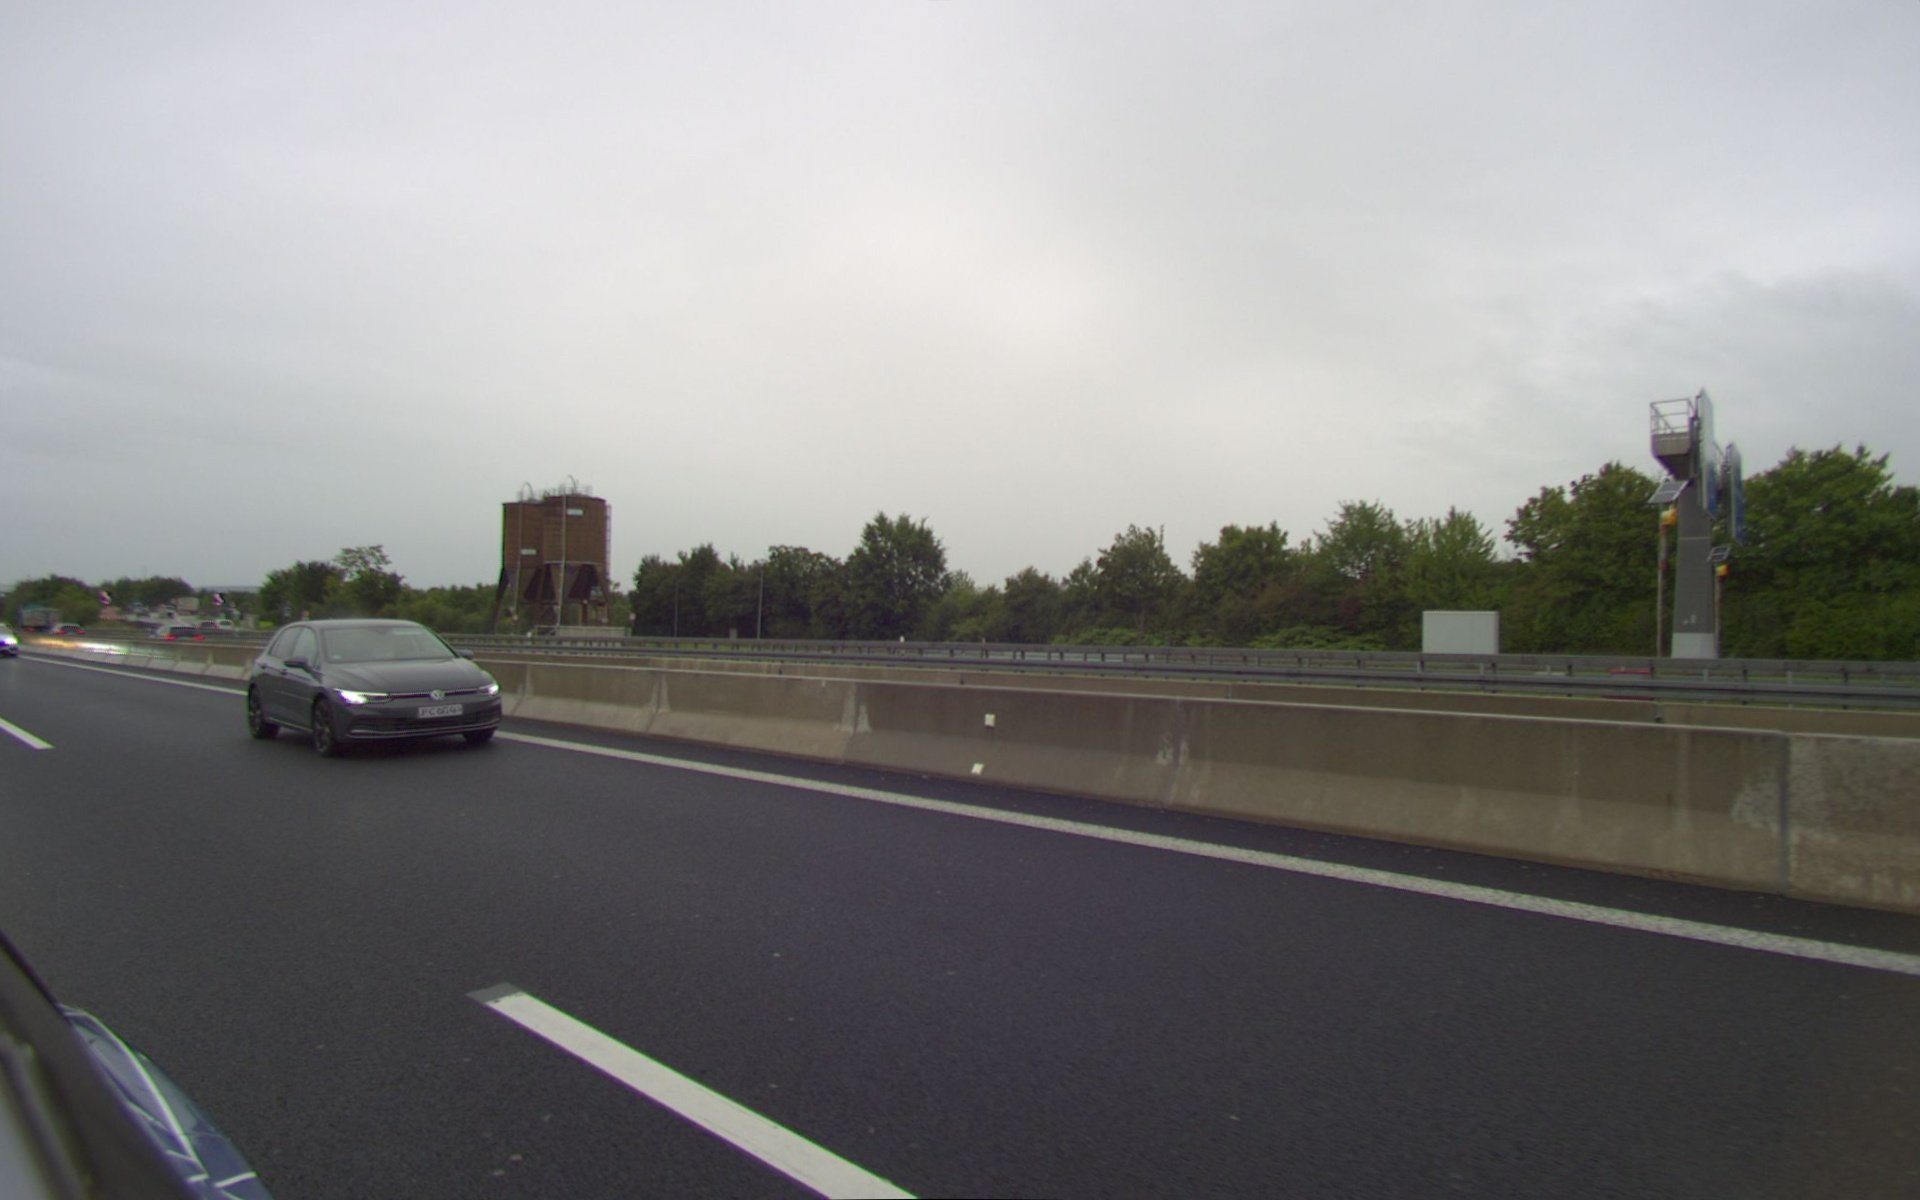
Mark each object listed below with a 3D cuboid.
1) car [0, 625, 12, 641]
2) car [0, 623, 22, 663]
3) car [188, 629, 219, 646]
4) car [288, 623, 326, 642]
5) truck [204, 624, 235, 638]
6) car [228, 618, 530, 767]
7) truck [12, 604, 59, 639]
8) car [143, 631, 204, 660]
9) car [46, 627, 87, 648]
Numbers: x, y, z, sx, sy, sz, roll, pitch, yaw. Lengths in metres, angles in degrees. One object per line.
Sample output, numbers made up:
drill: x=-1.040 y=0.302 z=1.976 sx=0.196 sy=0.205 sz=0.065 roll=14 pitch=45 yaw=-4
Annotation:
car: x=-97.778 y=3.395 z=102.806 sx=3.998 sy=1.608 sz=1.695 roll=-1 pitch=-1 yaw=41
car: x=-40.906 y=1.781 z=42.470 sx=4.817 sy=1.603 sz=1.972 roll=-2 pitch=-1 yaw=43
car: x=-86.081 y=4.273 z=115.155 sx=4.459 sy=1.822 sz=1.883 roll=-1 pitch=-1 yaw=41
car: x=-64.545 y=3.199 z=99.997 sx=4.503 sy=1.775 sz=1.972 roll=-2 pitch=-2 yaw=41
truck: x=-93.935 y=3.928 z=128.340 sx=5.401 sy=1.657 sz=1.974 roll=-1 pitch=0 yaw=40
car: x=-7.057 y=0.966 z=12.091 sx=4.365 sy=1.436 sz=1.811 roll=-1 pitch=-1 yaw=41
truck: x=-104.353 y=2.397 z=114.175 sx=11.908 sy=3.738 sz=2.937 roll=-1 pitch=0 yaw=43
car: x=-40.704 y=2.314 z=52.328 sx=4.445 sy=1.402 sz=1.835 roll=-2 pitch=-2 yaw=44
car: x=-67.072 y=2.797 z=75.975 sx=3.998 sy=1.519 sz=1.779 roll=-1 pitch=-2 yaw=41
